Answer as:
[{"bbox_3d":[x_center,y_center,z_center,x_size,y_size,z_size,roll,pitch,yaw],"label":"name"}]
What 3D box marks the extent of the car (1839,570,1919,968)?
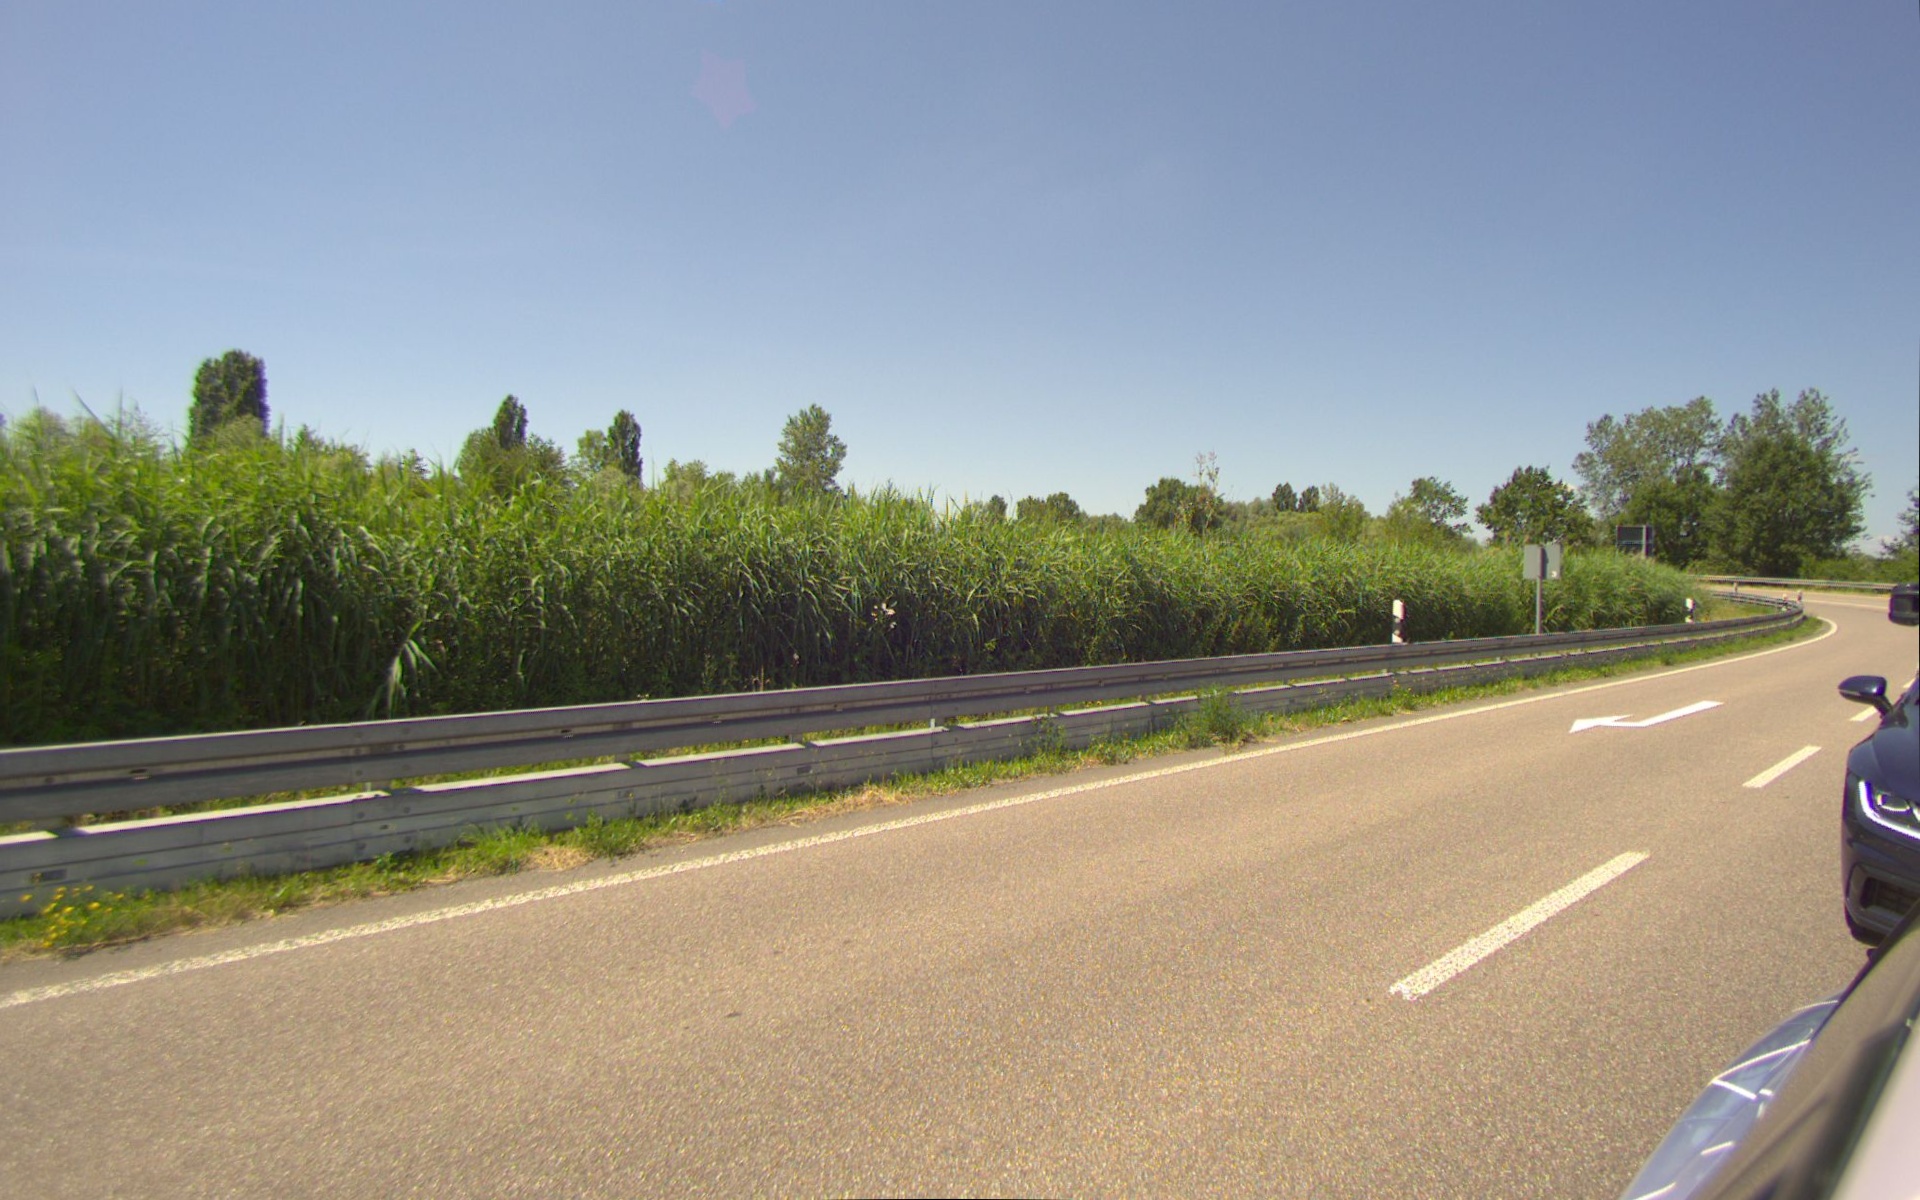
[{"bbox_3d":[5.645,0.615,4.667,4.338,1.481,1.818,-1,1,-41],"label":"car"}]
